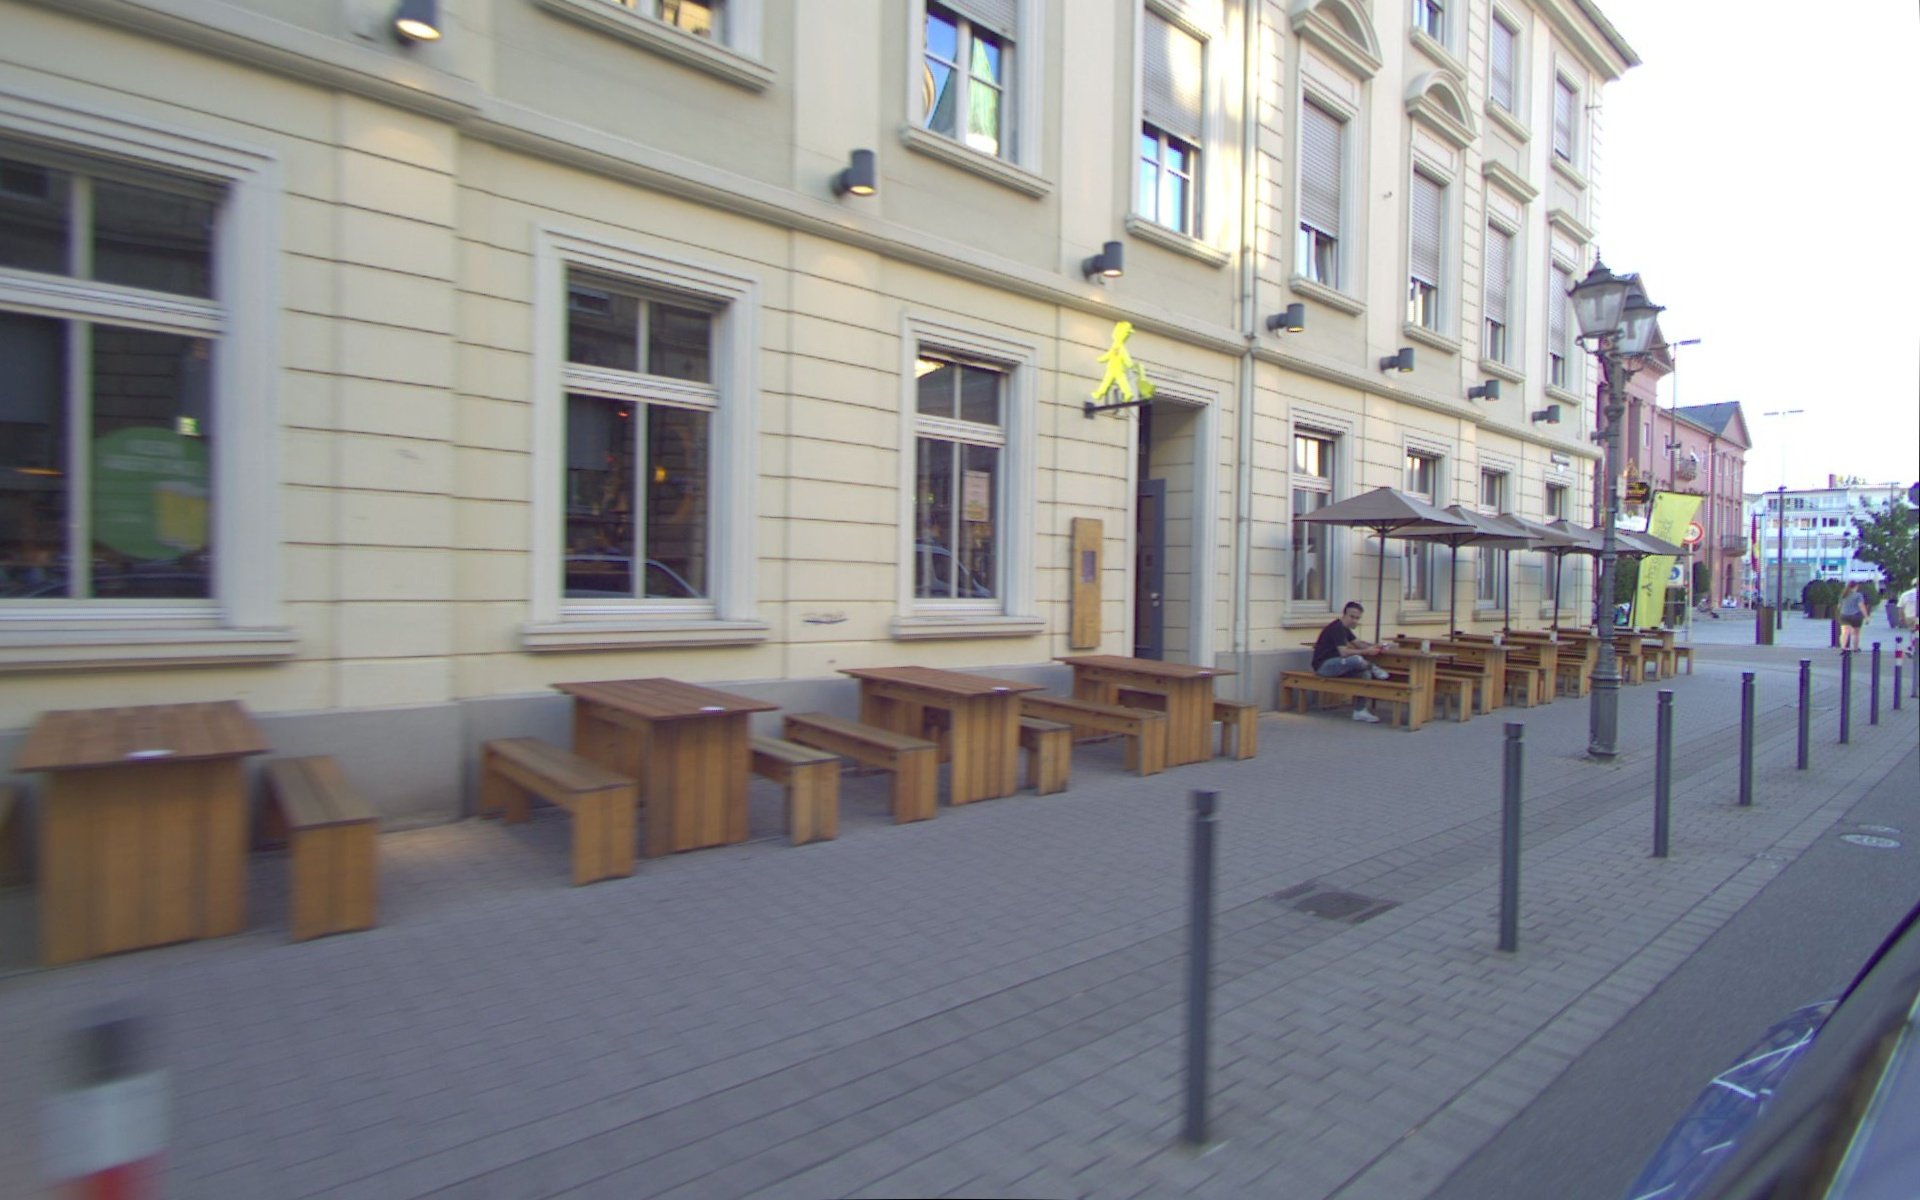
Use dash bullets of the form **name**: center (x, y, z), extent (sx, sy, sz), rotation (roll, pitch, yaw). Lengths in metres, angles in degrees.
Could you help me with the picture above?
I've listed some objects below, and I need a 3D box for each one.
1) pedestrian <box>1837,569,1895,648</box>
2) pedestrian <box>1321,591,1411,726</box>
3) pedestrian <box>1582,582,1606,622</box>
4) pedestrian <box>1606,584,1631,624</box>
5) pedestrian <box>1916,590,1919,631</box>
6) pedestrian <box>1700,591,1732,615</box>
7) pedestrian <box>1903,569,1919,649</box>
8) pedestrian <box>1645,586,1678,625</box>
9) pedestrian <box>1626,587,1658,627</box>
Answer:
- **pedestrian**: center (20.340, 0.180, 22.732), extent (0.705, 1.751, 0.609), rotation (1, 1, 2)
- **pedestrian**: center (4.387, 0.595, 10.934), extent (0.771, 1.376, 0.716), rotation (1, 1, 33)
- **pedestrian**: center (24.107, 0.070, 38.512), extent (0.577, 1.466, 0.825), rotation (1, 1, 20)
- **pedestrian**: center (24.953, 0.141, 38.343), extent (0.577, 1.466, 0.825), rotation (1, 1, 20)
- **pedestrian**: center (38.234, 0.420, 39.922), extent (0.642, 1.586, 0.682), rotation (0, 1, -43)
- **pedestrian**: center (41.975, 0.135, 56.214), extent (1.396, 1.278, 1.310), rotation (2, 1, 36)
- **pedestrian**: center (21.295, 0.198, 22.078), extent (0.751, 1.751, 0.668), rotation (1, 1, 2)
- **pedestrian**: center (26.668, 0.214, 38.481), extent (0.572, 1.466, 0.832), rotation (1, 1, -10)
- **pedestrian**: center (25.804, 0.267, 38.310), extent (0.572, 1.466, 0.832), rotation (1, 1, -8)
